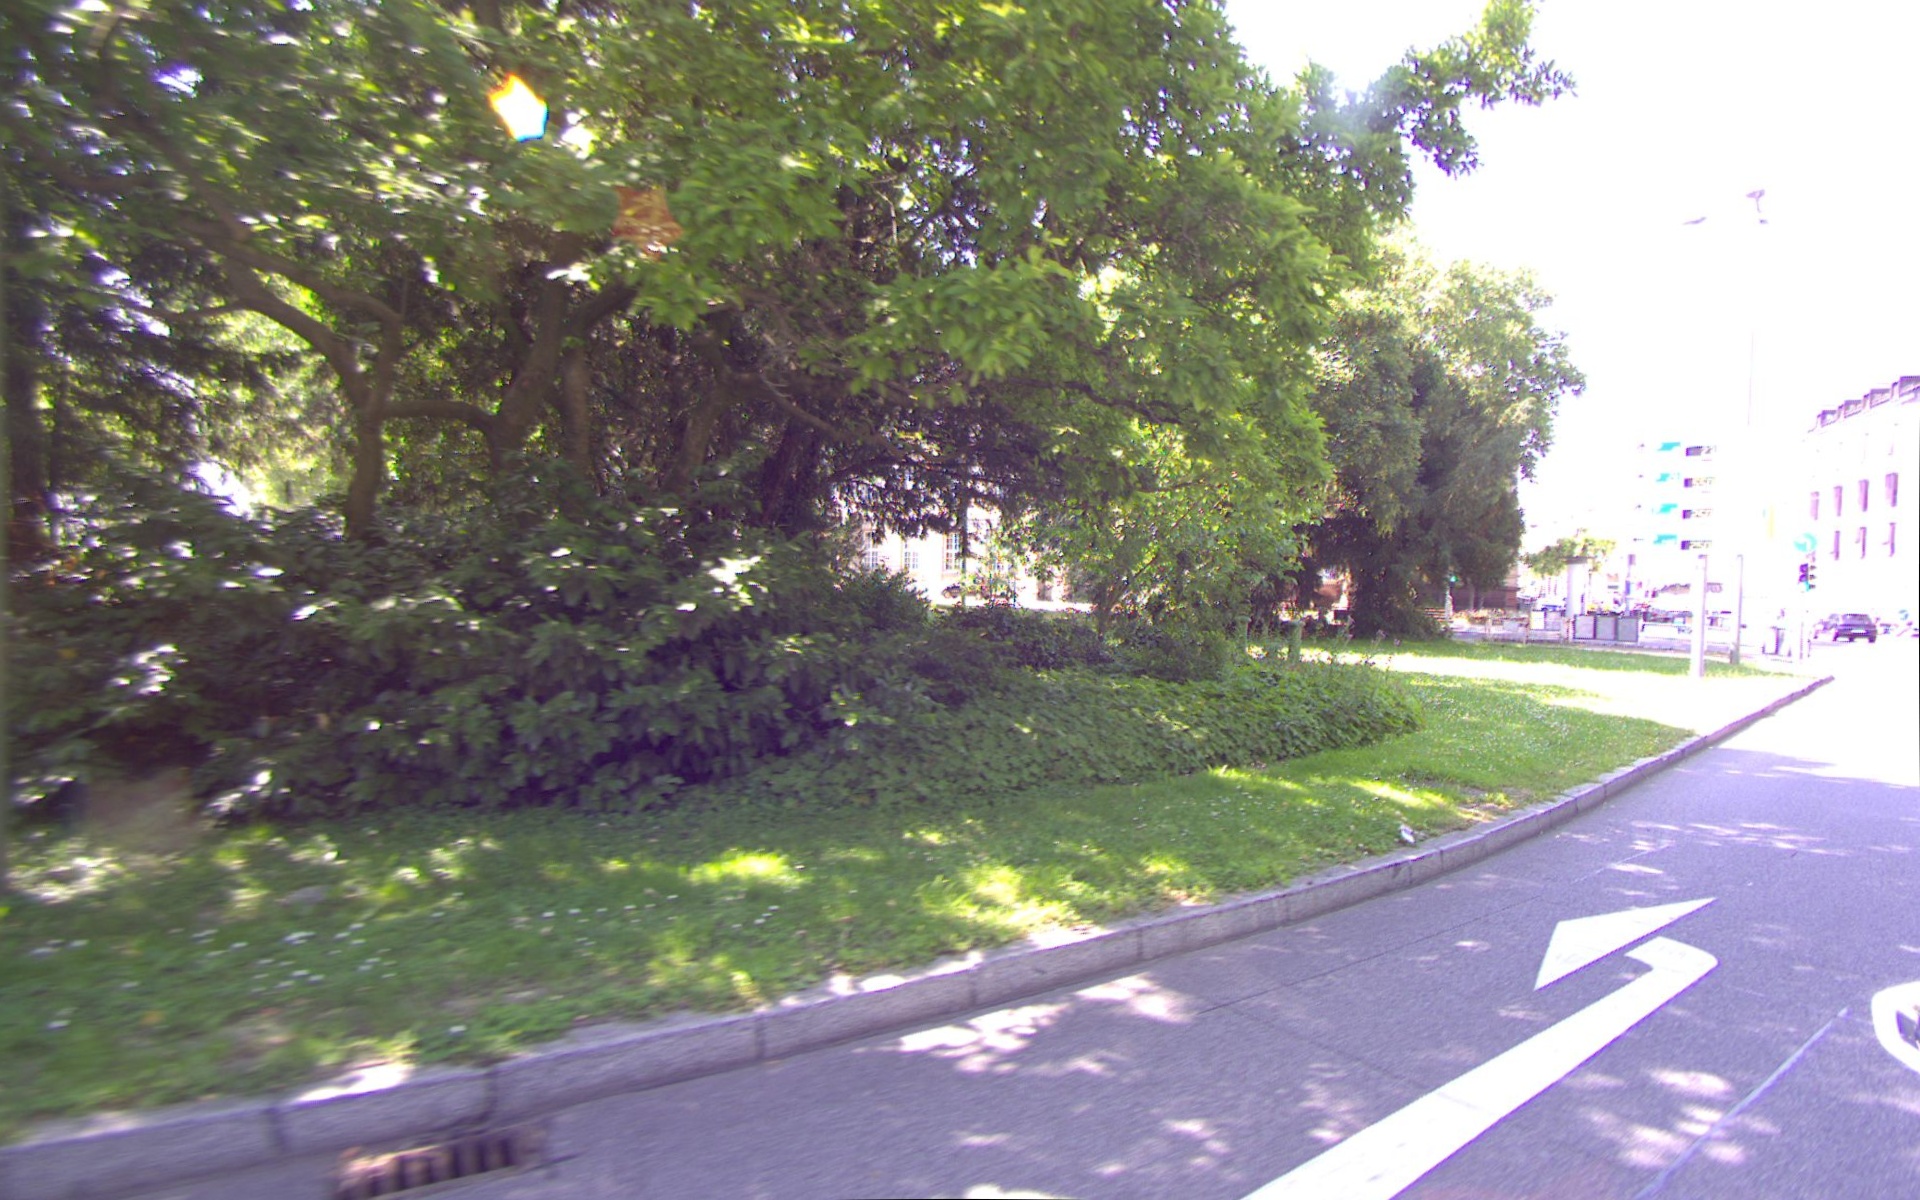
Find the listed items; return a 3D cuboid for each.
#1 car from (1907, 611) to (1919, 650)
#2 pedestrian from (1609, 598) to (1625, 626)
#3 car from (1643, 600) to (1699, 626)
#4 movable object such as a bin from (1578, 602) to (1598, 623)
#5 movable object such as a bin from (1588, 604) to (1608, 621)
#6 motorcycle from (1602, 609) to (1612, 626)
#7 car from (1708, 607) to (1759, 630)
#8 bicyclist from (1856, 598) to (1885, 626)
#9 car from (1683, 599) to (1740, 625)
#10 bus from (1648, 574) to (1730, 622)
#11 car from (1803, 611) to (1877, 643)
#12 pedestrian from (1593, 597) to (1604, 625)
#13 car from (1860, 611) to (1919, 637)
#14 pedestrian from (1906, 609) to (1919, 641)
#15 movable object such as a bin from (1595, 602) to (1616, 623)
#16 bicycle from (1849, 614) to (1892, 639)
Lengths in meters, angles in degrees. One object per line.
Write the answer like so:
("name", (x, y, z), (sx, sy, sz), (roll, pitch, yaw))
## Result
("car", (39.421, 1.225, 39.470), (1.803, 1.547, 3.999), (0, -1, 21))
("pedestrian", (40.139, 0.736, 61.356), (0.684, 1.717, 0.690), (2, 0, 26))
("car", (42.244, 0.744, 59.764), (1.906, 1.373, 4.245), (1, 1, 25))
("movable object such as a bin", (47.094, 0.913, 75.349), (1.107, 1.470, 1.436), (4, 3, 29))
("movable object such as a bin", (51.261, 1.002, 80.717), (1.257, 1.317, 0.853), (2, 2, 24))
("motorcycle", (39.949, 1.056, 62.046), (0.447, 1.011, 2.155), (4, 2, 33))
("car", (52.789, 1.266, 68.600), (1.804, 1.547, 3.998), (0, -1, 23))
("bicyclist", (55.736, 0.722, 61.484), (0.967, 1.620, 1.055), (3, 1, 24))
("car", (45.575, 0.716, 60.966), (1.833, 1.460, 3.998), (2, 0, 23))
("bus", (64.047, -0.205, 88.637), (2.835, 3.792, 12.419), (4, 2, 22))
("car", (45.255, 1.358, 51.732), (1.804, 1.547, 3.997), (0, -1, 25))
("pedestrian", (39.568, 0.686, 62.239), (0.541, 1.687, 0.934), (2, 0, 32))
("car", (60.382, 1.548, 64.123), (3.981, 1.514, 1.840), (1, -1, 26))
("pedestrian", (53.402, 1.385, 56.071), (0.610, 1.743, 0.834), (2, 1, 26))
("movable object such as a bin", (48.058, 0.939, 74.794), (1.107, 1.470, 1.436), (4, 3, 29))
("bicycle", (55.698, 1.580, 61.509), (0.962, 1.405, 3.000), (2, 1, 23))
